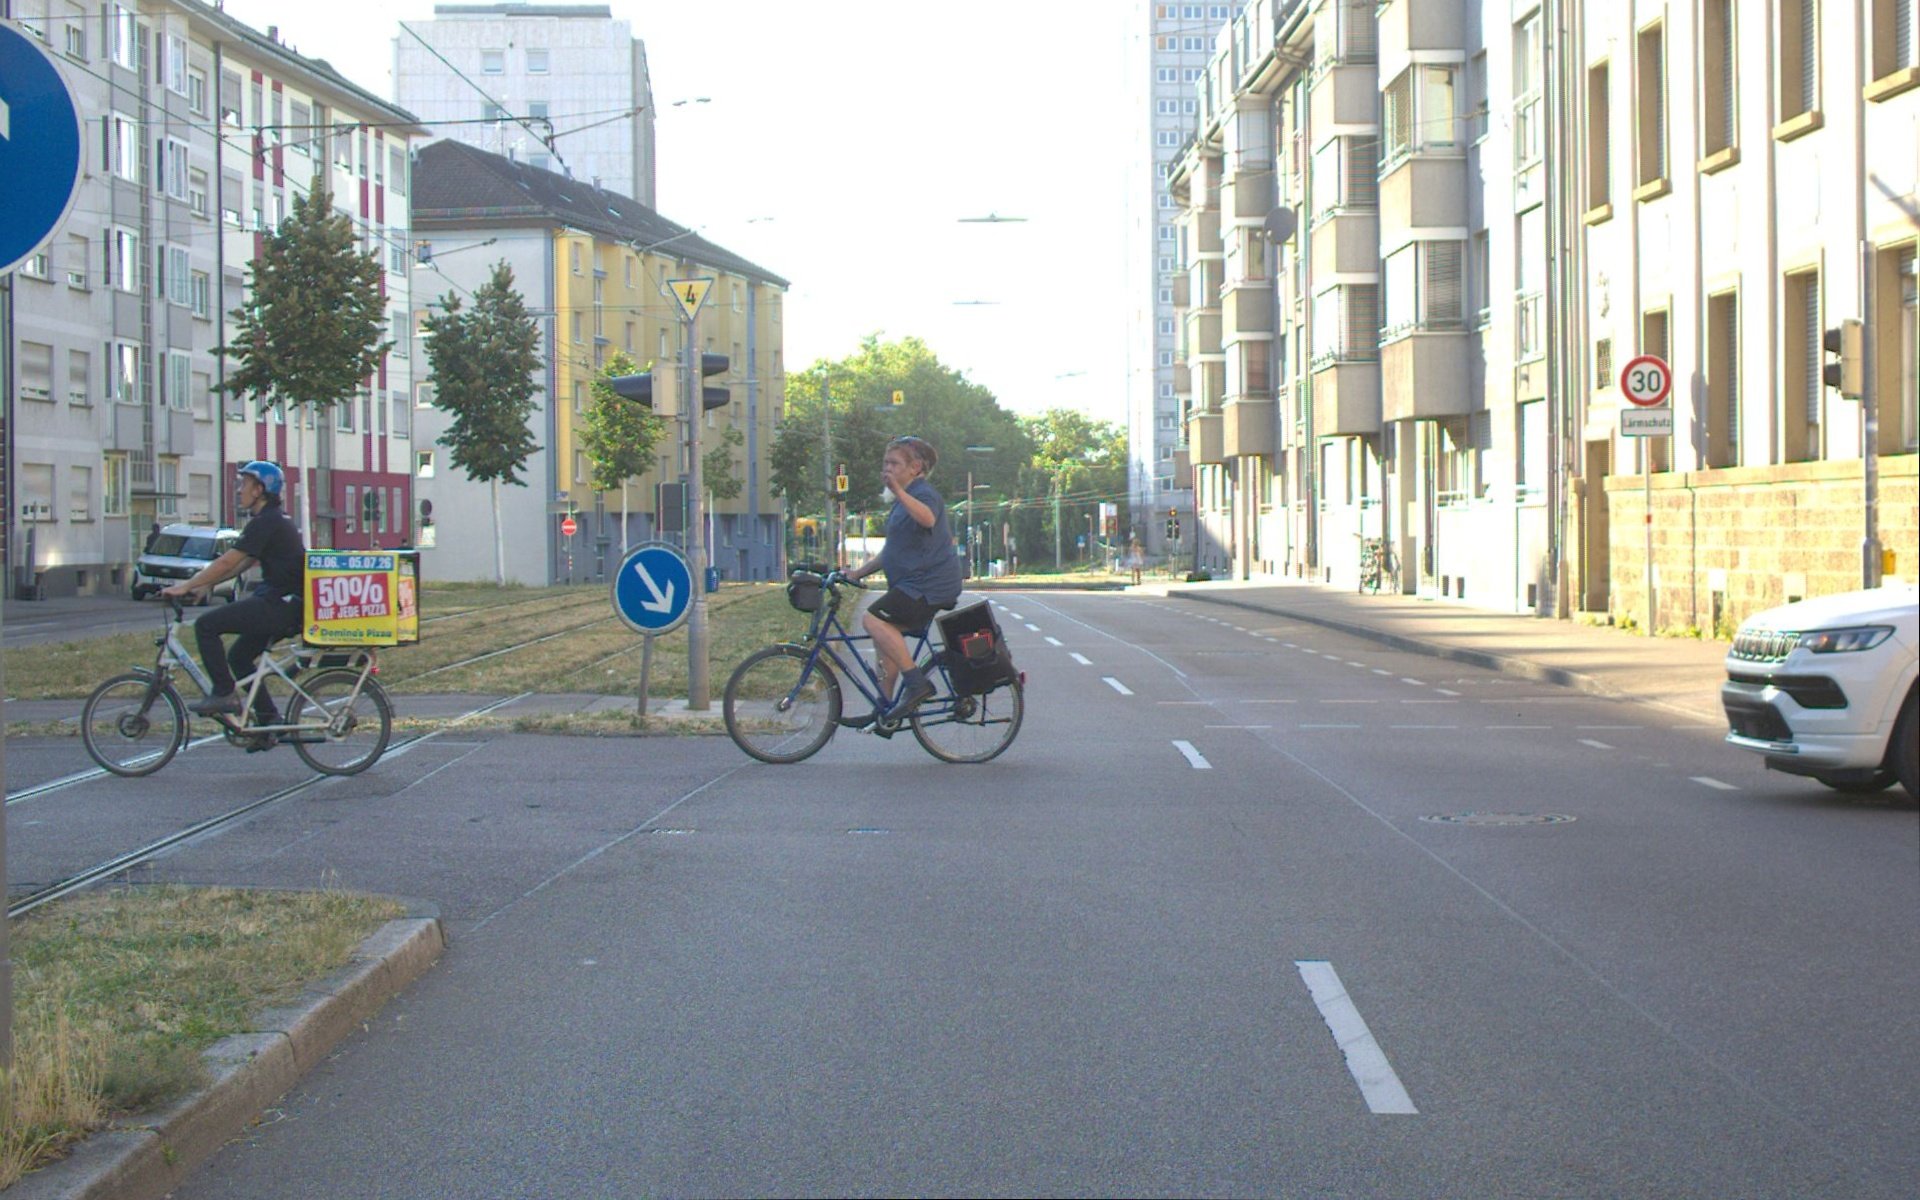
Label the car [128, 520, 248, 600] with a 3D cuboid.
[{"bbox_3d":[-18.228,-0.942,81.320,1.812,1.791,4.245,1,0,1],"label":"car"}]

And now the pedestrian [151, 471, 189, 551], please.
[{"bbox_3d":[-19.883,-2.235,86.538,0.786,2.007,0.891,-1,1,-4],"label":"pedestrian"}]

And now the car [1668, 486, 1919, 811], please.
[{"bbox_3d":[6.259,0.223,18.491,4.417,1.635,2.000,0,1,-4],"label":"car"}]

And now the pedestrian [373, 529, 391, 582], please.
[{"bbox_3d":[-18.383,-1.417,109.369,0.495,1.652,0.408,-1,1,0],"label":"pedestrian"}]

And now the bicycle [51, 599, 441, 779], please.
[{"bbox_3d":[-4.060,0.498,19.666,2.072,0.955,0.747,-1,1,-3],"label":"bicycle"}]

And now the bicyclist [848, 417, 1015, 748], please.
[{"bbox_3d":[-0.180,-0.113,21.053,0.959,1.981,0.672,-1,1,-3],"label":"bicyclist"}]

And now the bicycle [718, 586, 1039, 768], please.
[{"bbox_3d":[-0.507,0.465,21.115,1.943,1.090,0.575,0,1,-3],"label":"bicycle"}]

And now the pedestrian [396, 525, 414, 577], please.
[{"bbox_3d":[-17.721,-1.565,109.784,0.495,1.652,0.408,-1,1,0],"label":"pedestrian"}]

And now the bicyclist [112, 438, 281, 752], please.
[{"bbox_3d":[-4.361,-0.029,19.672,0.793,1.747,0.720,1,0,-2],"label":"bicyclist"}]
